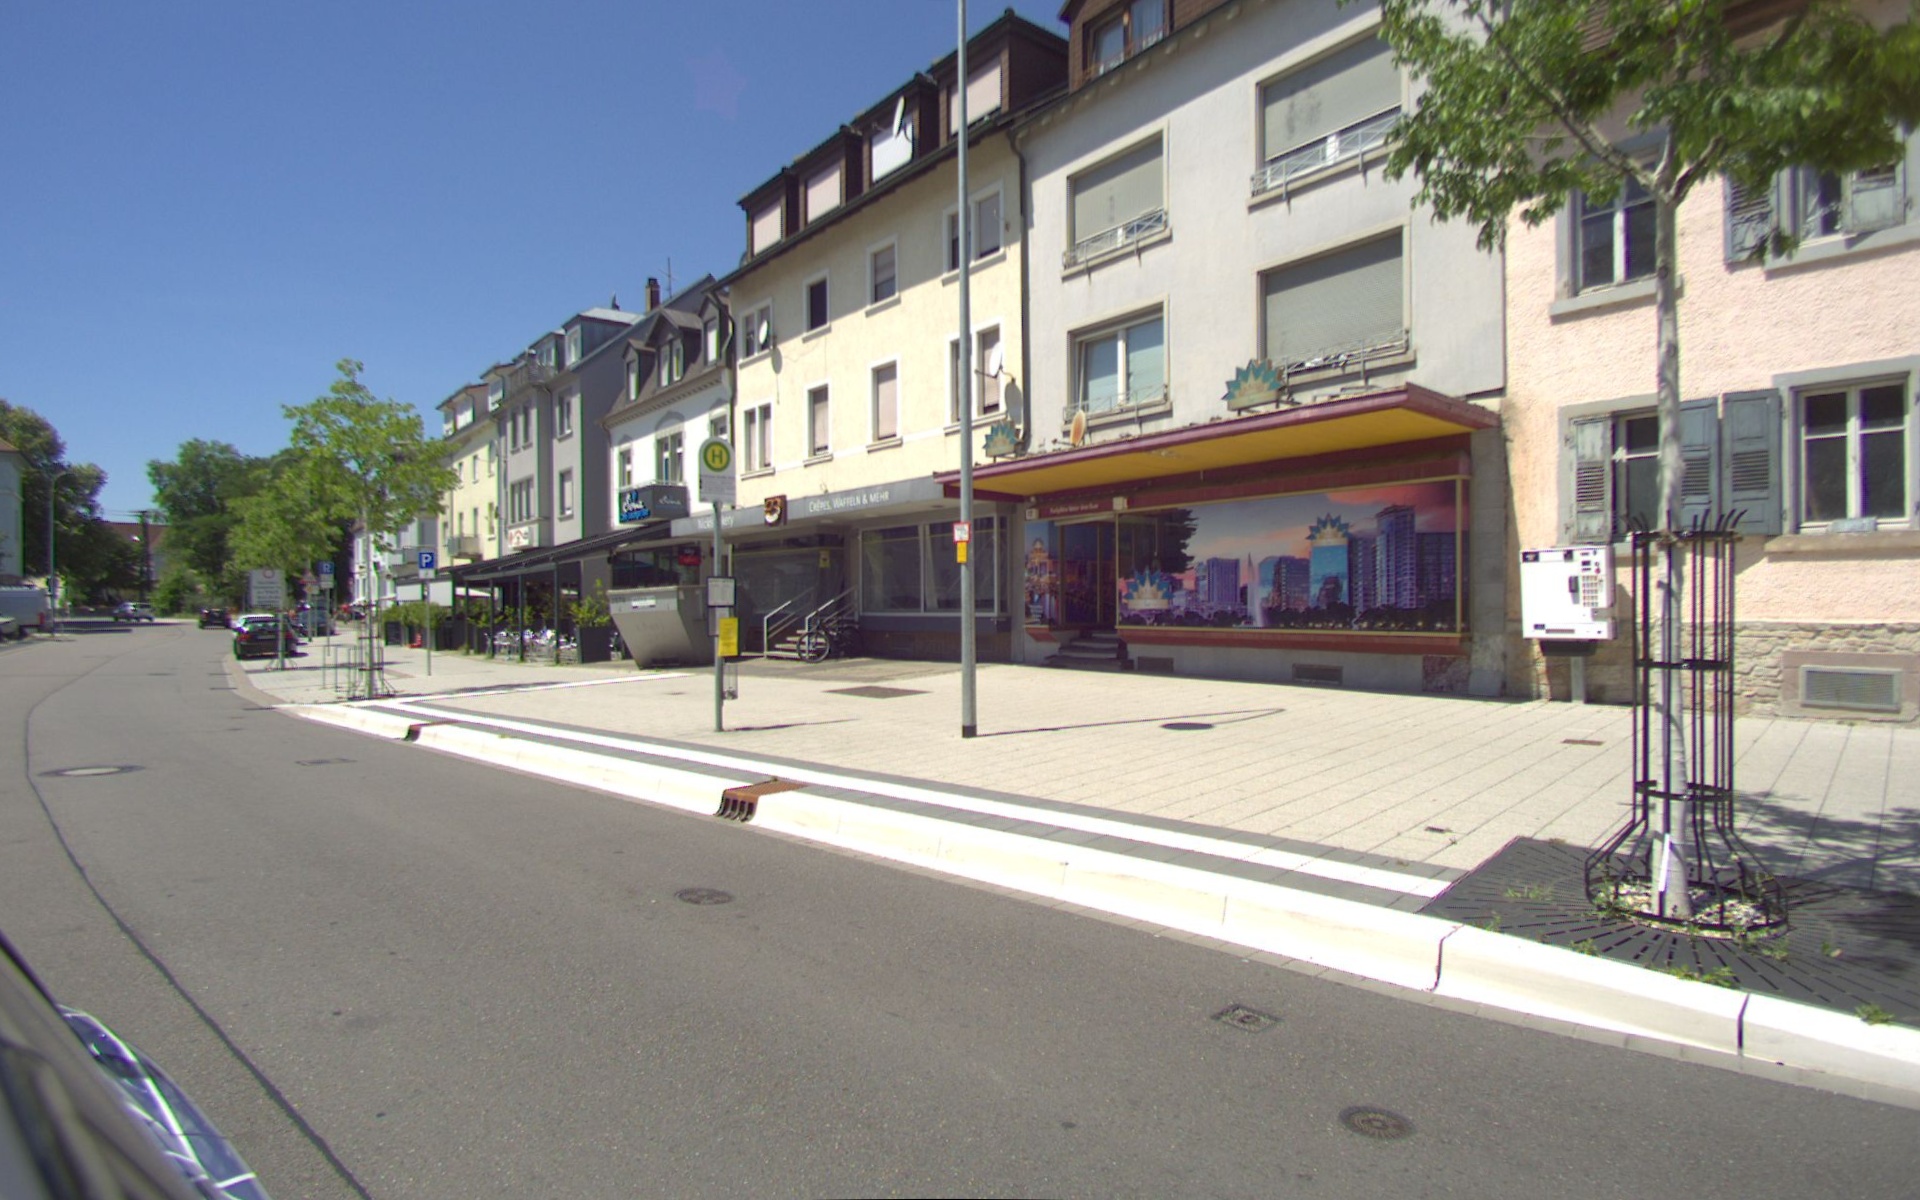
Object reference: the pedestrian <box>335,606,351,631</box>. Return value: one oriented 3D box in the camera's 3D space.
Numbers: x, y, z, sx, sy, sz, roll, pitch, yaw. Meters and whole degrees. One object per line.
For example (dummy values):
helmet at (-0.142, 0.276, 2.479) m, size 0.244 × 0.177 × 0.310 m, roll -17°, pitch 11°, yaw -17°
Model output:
pedestrian at (-44.749, 1.342, 73.413) m, size 0.803 × 1.779 × 0.747 m, roll -1°, pitch -1°, yaw 43°

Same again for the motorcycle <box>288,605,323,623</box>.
motorcycle at (-50.864, 1.101, 78.639) m, size 2.286 × 1.335 × 0.727 m, roll 1°, pitch -1°, yaw -35°

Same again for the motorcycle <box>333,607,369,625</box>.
motorcycle at (-46.687, 1.226, 77.626) m, size 2.286 × 1.335 × 0.727 m, roll 1°, pitch -1°, yaw -35°

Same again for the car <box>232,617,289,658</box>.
car at (-27.852, 1.454, 40.367) m, size 1.658 × 1.495 × 3.779 m, roll -2°, pitch 1°, yaw -32°

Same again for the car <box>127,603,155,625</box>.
car at (-65.642, 1.083, 81.163) m, size 1.659 × 1.495 × 4.095 m, roll 3°, pitch 0°, yaw -38°

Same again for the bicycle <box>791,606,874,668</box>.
bicycle at (-2.846, 0.807, 22.667) m, size 1.742 × 1.243 × 0.617 m, roll -3°, pitch 1°, yaw -38°

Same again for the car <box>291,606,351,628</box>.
car at (-51.184, 1.361, 81.108) m, size 4.013 × 1.752 × 1.819 m, roll 1°, pitch -1°, yaw -33°

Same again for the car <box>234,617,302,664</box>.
car at (-24.738, 1.387, 36.125) m, size 1.731 × 1.456 × 4.459 m, roll -4°, pitch 2°, yaw -37°

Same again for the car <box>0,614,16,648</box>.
car at (-45.427, 1.382, 45.403) m, size 4.313 × 1.541 × 1.723 m, roll 1°, pitch -2°, yaw -38°

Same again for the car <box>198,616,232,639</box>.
car at (-48.705, 1.784, 66.214) m, size 1.594 × 1.465 × 3.874 m, roll 2°, pitch -2°, yaw -34°

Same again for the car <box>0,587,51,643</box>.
car at (-48.060, 0.741, 49.788) m, size 4.791 × 2.757 × 1.855 m, roll 1°, pitch -1°, yaw -37°
